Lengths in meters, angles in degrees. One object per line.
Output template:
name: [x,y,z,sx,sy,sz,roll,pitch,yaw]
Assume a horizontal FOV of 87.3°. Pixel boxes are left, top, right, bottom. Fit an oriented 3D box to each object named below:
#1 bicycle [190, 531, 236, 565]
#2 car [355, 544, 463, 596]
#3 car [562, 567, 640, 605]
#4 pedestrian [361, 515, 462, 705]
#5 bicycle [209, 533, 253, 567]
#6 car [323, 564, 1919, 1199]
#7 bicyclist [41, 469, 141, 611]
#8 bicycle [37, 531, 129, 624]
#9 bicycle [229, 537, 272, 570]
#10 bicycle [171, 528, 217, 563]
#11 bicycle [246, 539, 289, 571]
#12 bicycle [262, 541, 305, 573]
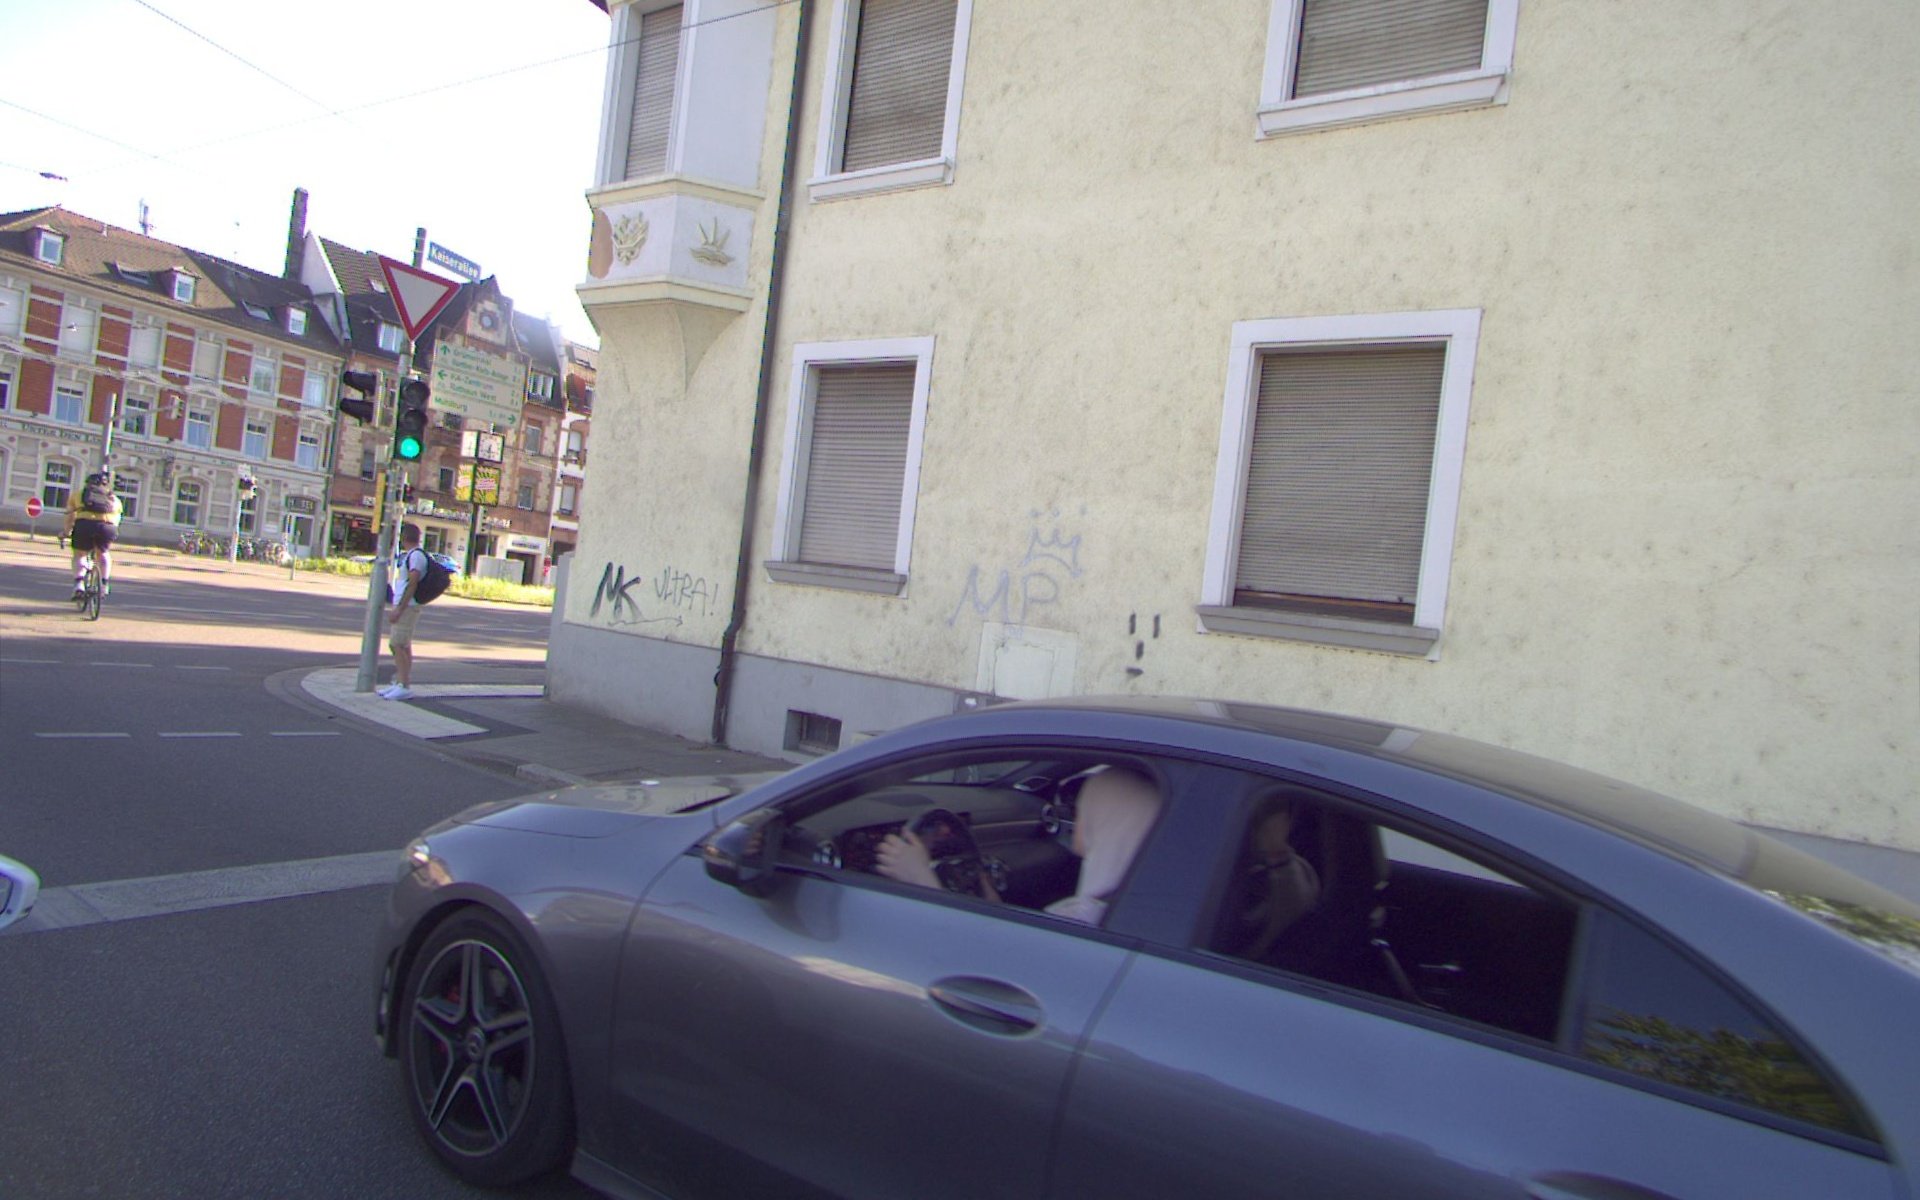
bicycle: [-34.207,-2.388,46.069,2.618,1.301,0.693,6,-1,33]
car: [-25.625,-1.385,46.900,1.967,1.798,3.790,6,-2,31]
car: [-23.256,-0.869,65.289,1.967,1.798,4.374,6,-2,31]
pedestrian: [-5.392,0.093,9.914,0.631,1.780,0.584,4,3,-7]
bicycle: [-33.840,-2.322,46.693,2.618,1.301,0.629,6,-1,33]
car: [0.621,0.906,2.473,4.419,1.436,1.910,6,-2,33]
bicyclist: [-11.329,-0.771,13.135,0.803,1.682,0.873,8,-1,-41]
bicycle: [-11.386,-0.316,13.102,0.752,1.043,1.761,8,-2,-40]
bicycle: [-33.426,-2.211,47.365,2.618,1.301,0.629,6,-1,33]
bicycle: [-34.601,-2.469,45.419,2.618,1.301,0.693,6,-1,33]
bicycle: [-33.060,-2.144,47.995,2.618,1.301,0.629,6,-1,33]
bicycle: [-32.689,-2.073,48.584,2.618,1.301,0.629,6,-1,33]
